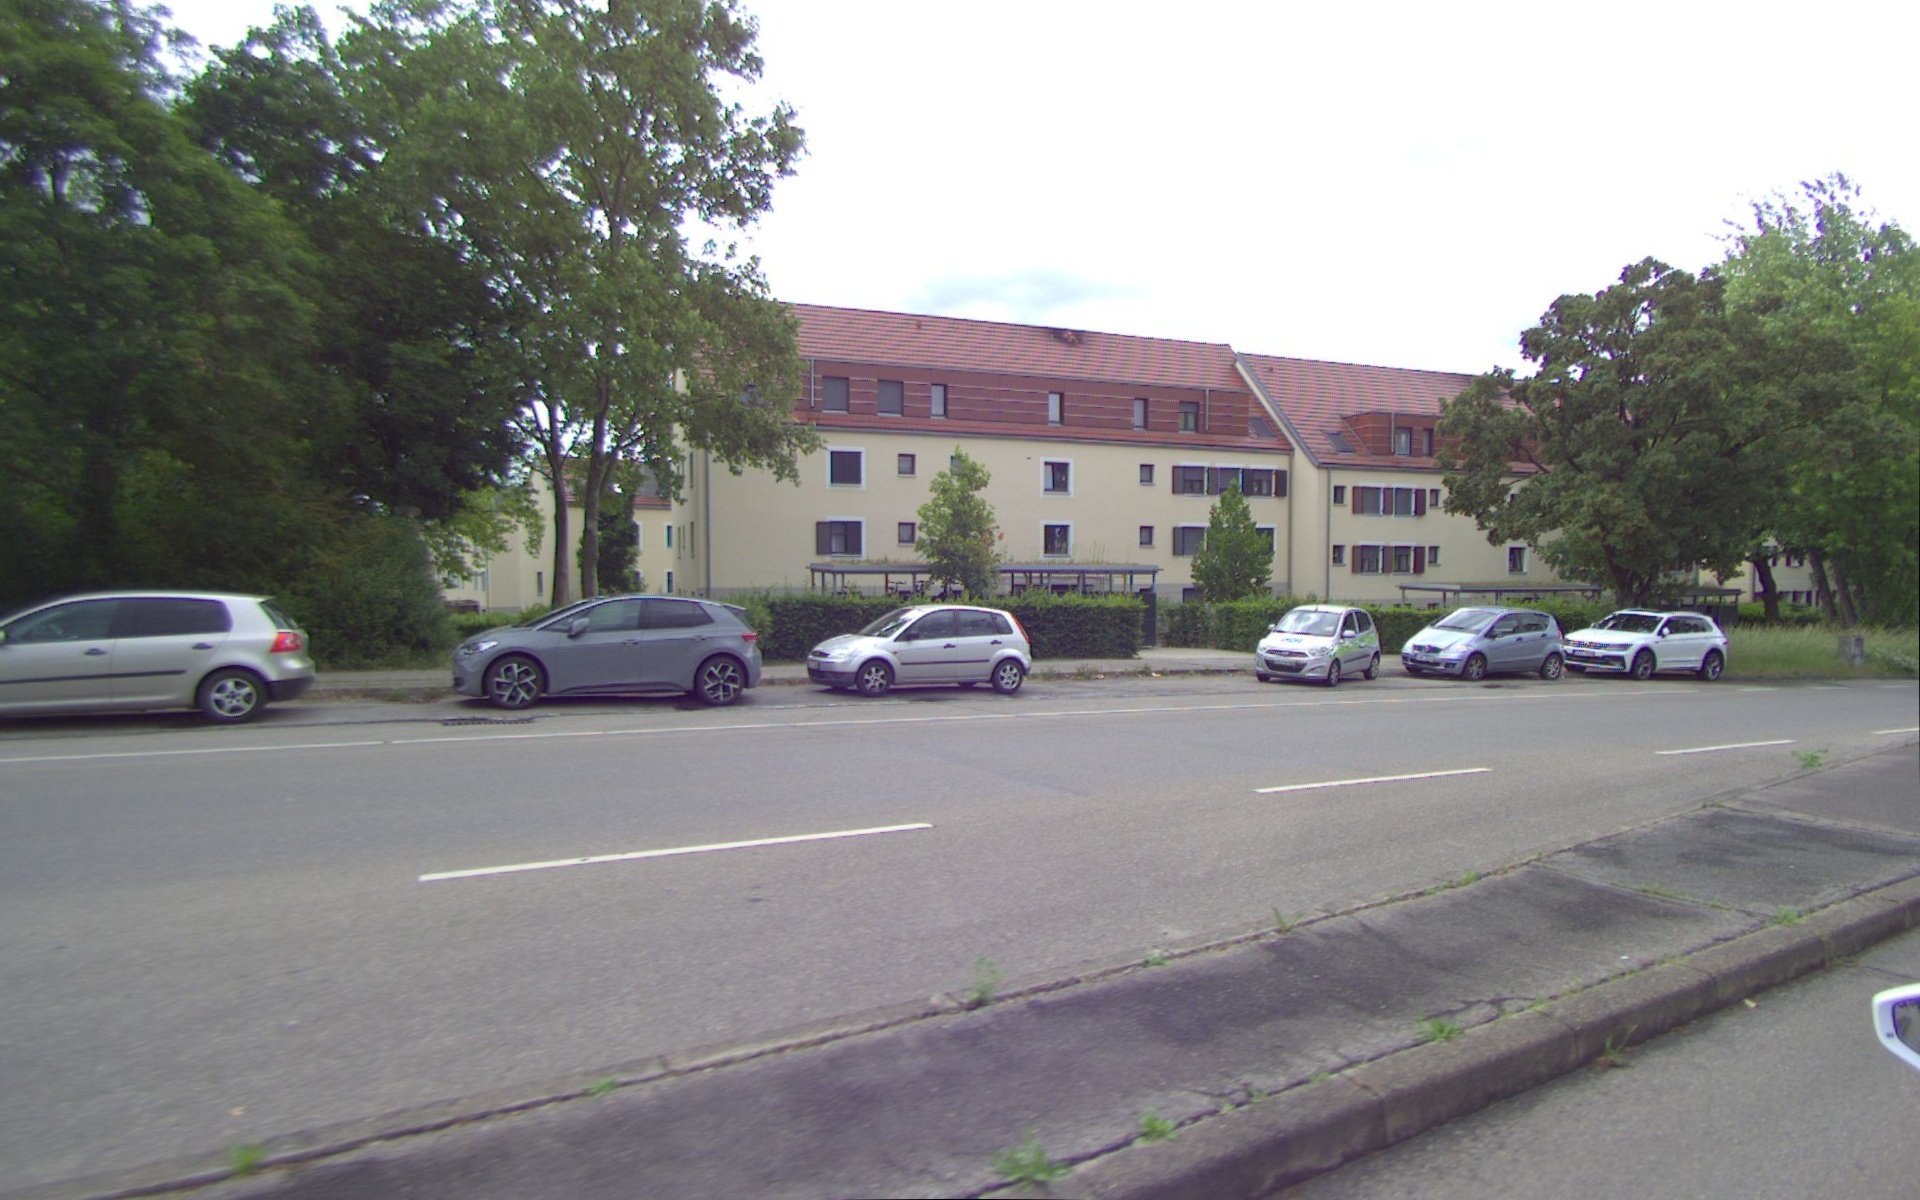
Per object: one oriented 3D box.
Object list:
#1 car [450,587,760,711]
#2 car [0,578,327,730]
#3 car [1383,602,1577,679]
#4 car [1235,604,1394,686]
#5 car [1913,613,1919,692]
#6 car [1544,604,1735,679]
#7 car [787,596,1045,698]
[{"bbox_3d":[-5.087,0.644,14.460,3.952,1.527,1.866,1,1,-29],"label":"car"},{"bbox_3d":[-9.644,0.554,11.464,4.011,1.527,1.865,1,1,-32],"label":"car"},{"bbox_3d":[11.969,0.917,23.150,3.943,1.618,1.870,1,1,-23],"label":"car"},{"bbox_3d":[7.586,0.888,21.280,1.853,1.527,3.980,1,0,41],"label":"car"},{"bbox_3d":[21.719,1.169,20.633,4.286,1.591,1.867,3,0,-29],"label":"car"},{"bbox_3d":[16.892,1.032,24.962,4.328,1.689,1.870,2,1,-23],"label":"car"},{"bbox_3d":[-0.727,0.741,17.009,3.951,1.527,1.867,1,0,-29],"label":"car"}]
